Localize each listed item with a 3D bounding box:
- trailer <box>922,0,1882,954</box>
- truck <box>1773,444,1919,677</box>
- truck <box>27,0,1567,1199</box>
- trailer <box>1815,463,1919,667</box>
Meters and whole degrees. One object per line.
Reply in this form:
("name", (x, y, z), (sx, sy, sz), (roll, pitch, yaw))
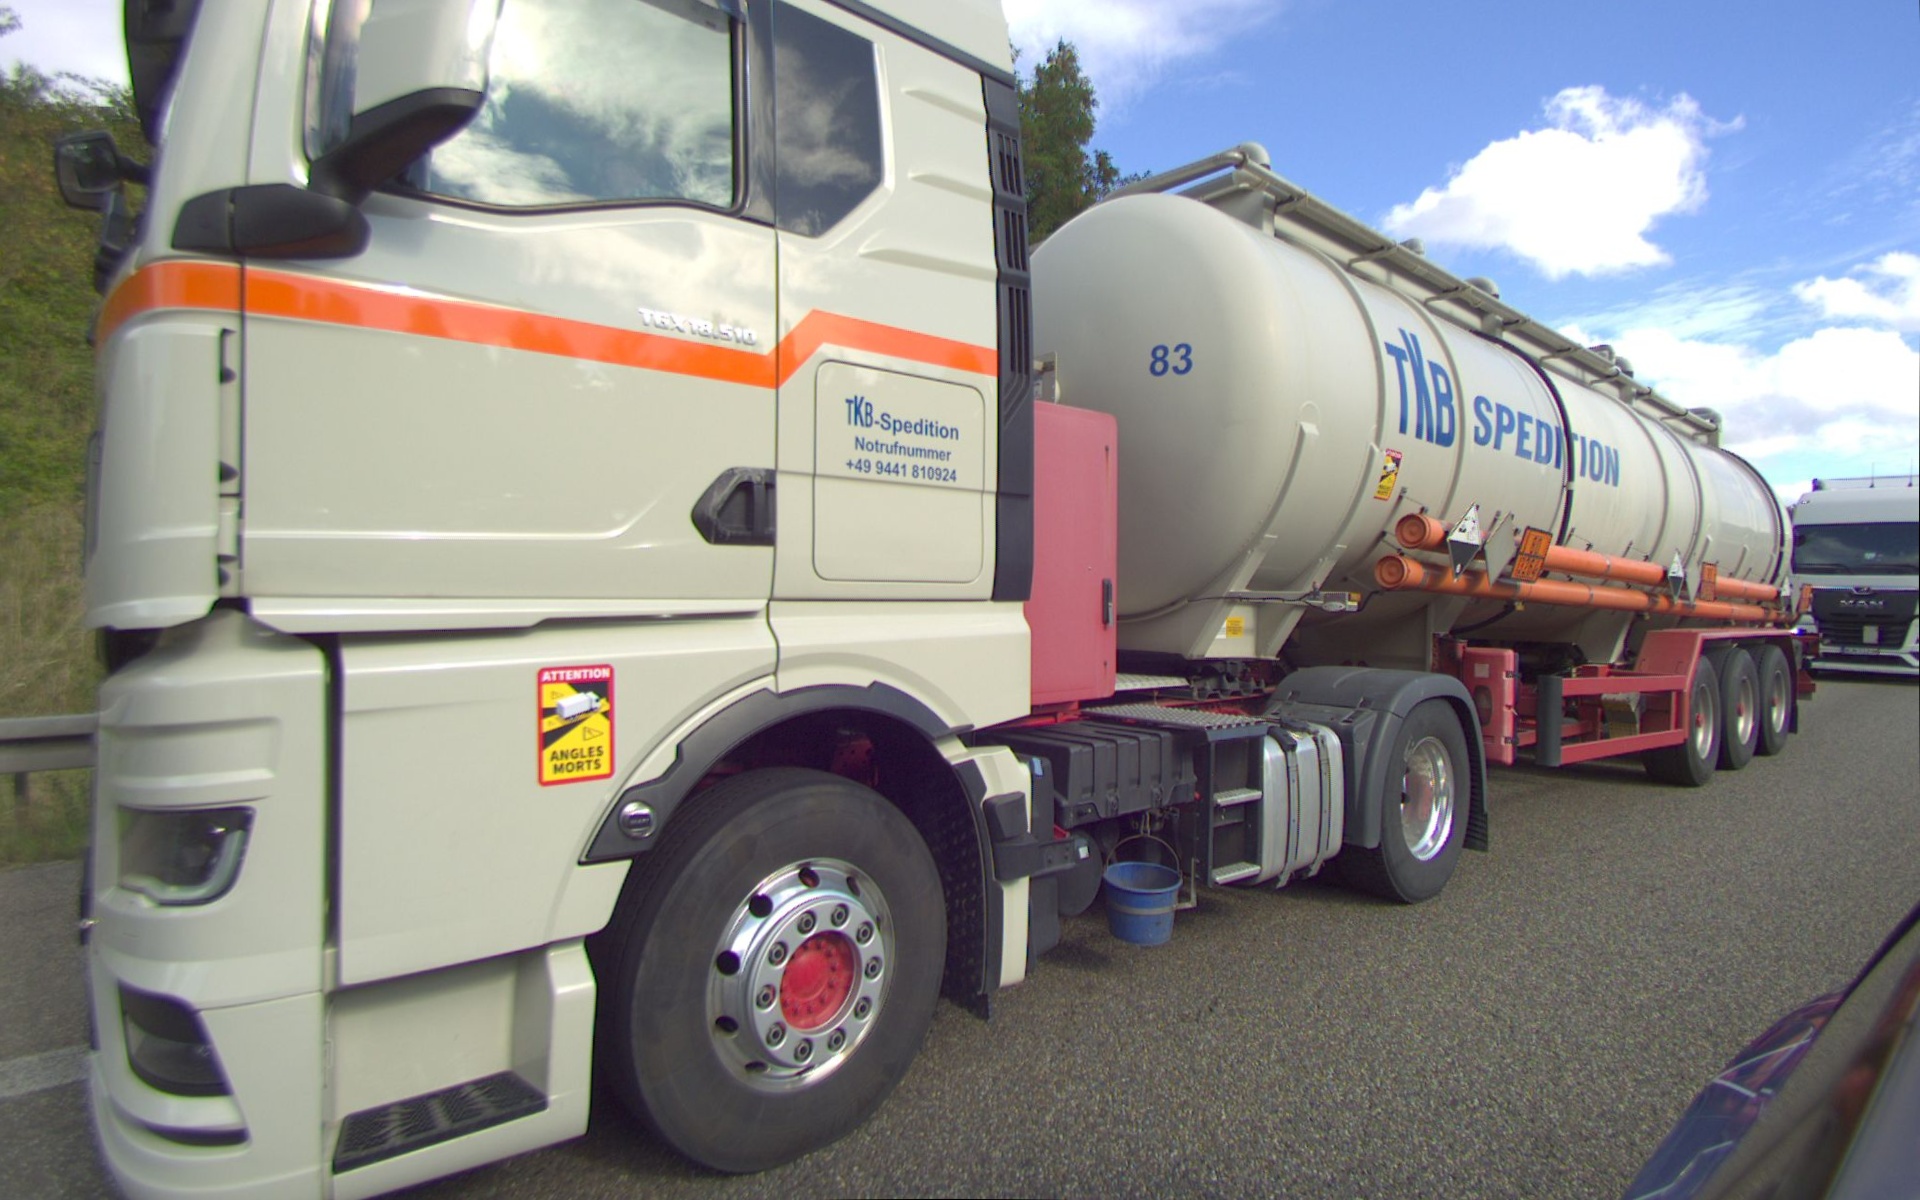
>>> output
("trailer", (4.867, -0.724, 8.489), (10.983, 4.077, 2.804), (0, 0, -40))
("truck", (18.694, -0.712, 20.170), (5.606, 4.123, 2.840), (0, 0, -40))
("truck", (0.000, -0.707, 4.408), (5.799, 4.094, 2.809), (0, 0, -40))
("trailer", (24.323, -0.736, 24.911), (13.134, 4.122, 2.832), (0, 1, -40))
